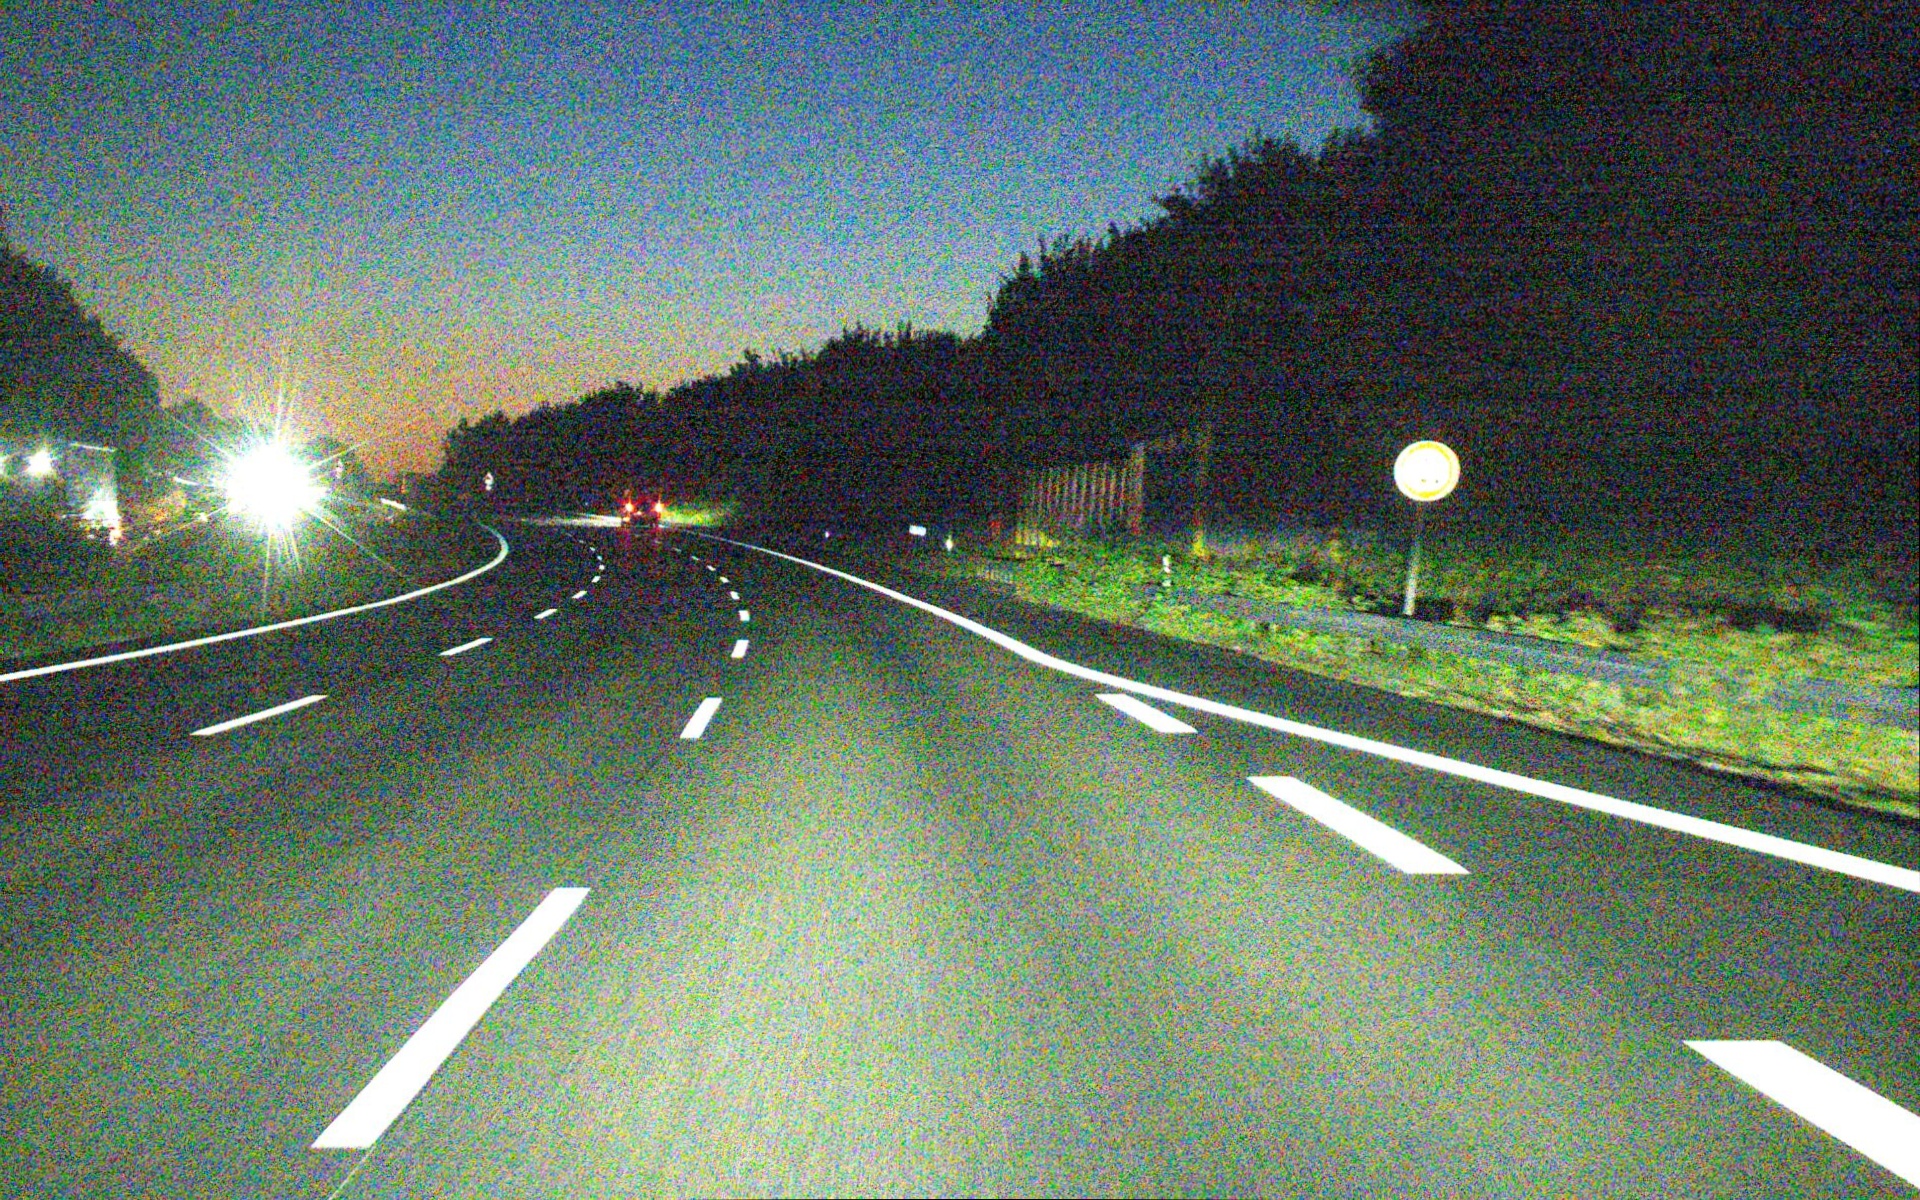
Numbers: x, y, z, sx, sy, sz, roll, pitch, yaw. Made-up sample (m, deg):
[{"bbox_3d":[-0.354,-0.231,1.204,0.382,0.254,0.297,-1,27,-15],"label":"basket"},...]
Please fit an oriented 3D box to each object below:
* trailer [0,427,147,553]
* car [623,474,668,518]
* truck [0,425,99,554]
[{"bbox_3d":[-31.043,-3.783,119.225,3.598,4.076,14.127,0,1,-5],"label":"trailer"},{"bbox_3d":[-19.497,-6.448,213.103,2.527,2.544,6.053,3,1,-6],"label":"car"},{"bbox_3d":[-30.452,-3.592,112.290,3.589,4.085,5.995,0,1,-5],"label":"truck"}]
